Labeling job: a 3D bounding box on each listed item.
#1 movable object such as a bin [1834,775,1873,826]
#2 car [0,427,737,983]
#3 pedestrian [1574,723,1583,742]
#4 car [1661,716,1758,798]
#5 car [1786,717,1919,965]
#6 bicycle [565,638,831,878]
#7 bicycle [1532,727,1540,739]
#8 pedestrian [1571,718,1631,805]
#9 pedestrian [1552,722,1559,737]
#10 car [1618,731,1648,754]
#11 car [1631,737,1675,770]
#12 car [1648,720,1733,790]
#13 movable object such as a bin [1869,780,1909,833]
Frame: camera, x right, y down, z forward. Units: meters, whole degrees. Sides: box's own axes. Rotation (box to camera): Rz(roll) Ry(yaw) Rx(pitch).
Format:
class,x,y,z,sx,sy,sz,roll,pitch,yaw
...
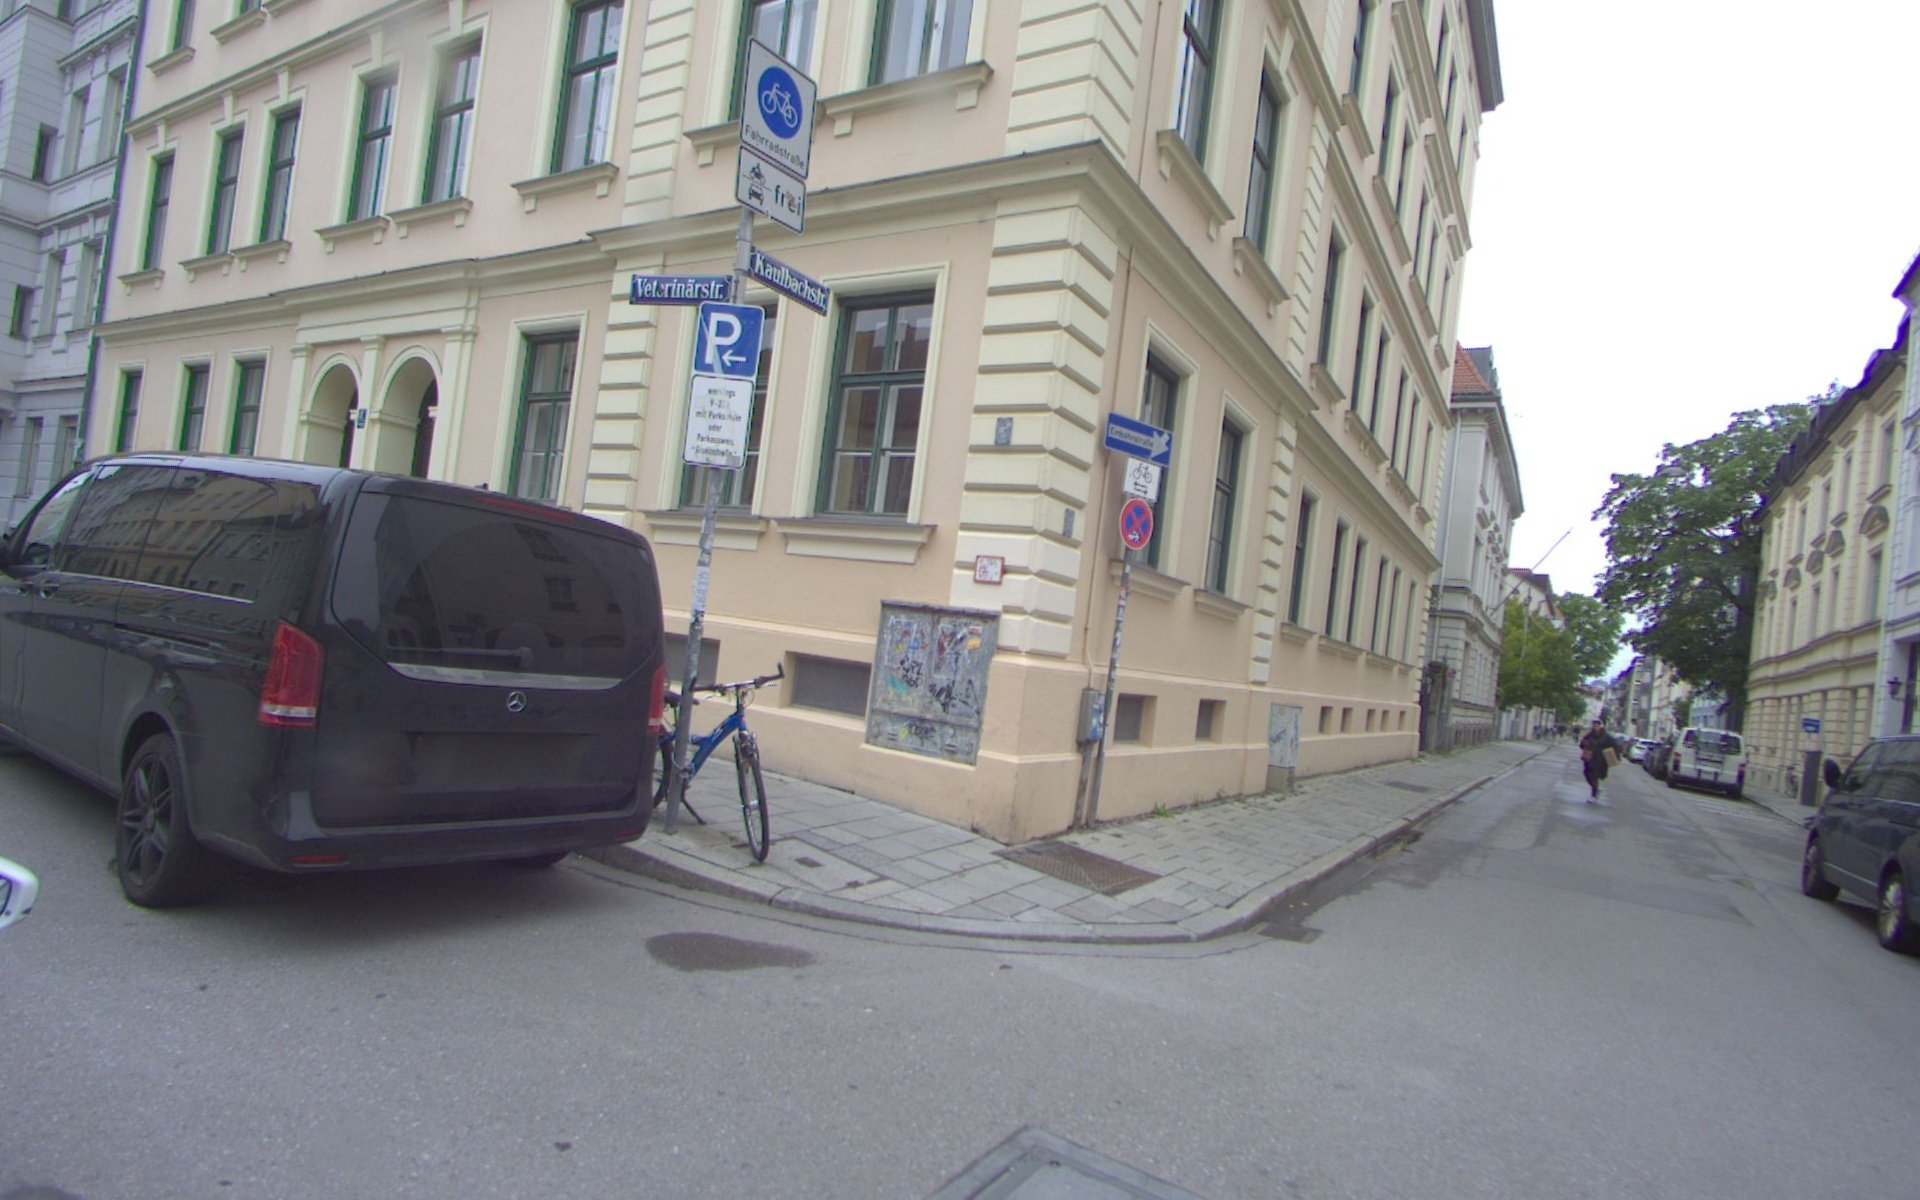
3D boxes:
class,x,y,z,sx,sy,sz,roll,pitch,yaw
movable object such as a bin,20.040,4.484,22.556,0.562,1.035,0.569,5,-2,45
car,-3.913,0.223,5.686,5.169,1.885,2.001,7,-2,34
pedestrian,57.377,12.282,93.379,0.582,1.731,0.584,5,-1,32
car,23.619,4.907,31.743,2.045,2.009,4.333,10,0,37
car,9.506,2.245,9.324,1.941,1.939,4.449,10,0,31
bicycle,-1.650,0.903,6.184,1.701,1.066,0.465,9,2,34
bicycle,51.026,11.762,89.047,0.385,0.973,1.541,8,-3,35
pedestrian,13.217,3.306,20.734,0.806,1.647,0.868,5,-2,40
pedestrian,62.988,13.707,106.381,0.539,1.450,0.470,5,-1,33
car,53.977,11.385,80.692,1.641,1.432,3.785,10,0,32
car,39.963,8.810,58.088,1.640,1.432,3.786,10,0,31
car,26.445,5.544,36.553,1.795,2.009,4.340,10,0,31
movable object such as a bin,20.221,4.486,21.895,0.562,1.035,0.569,5,-2,45
